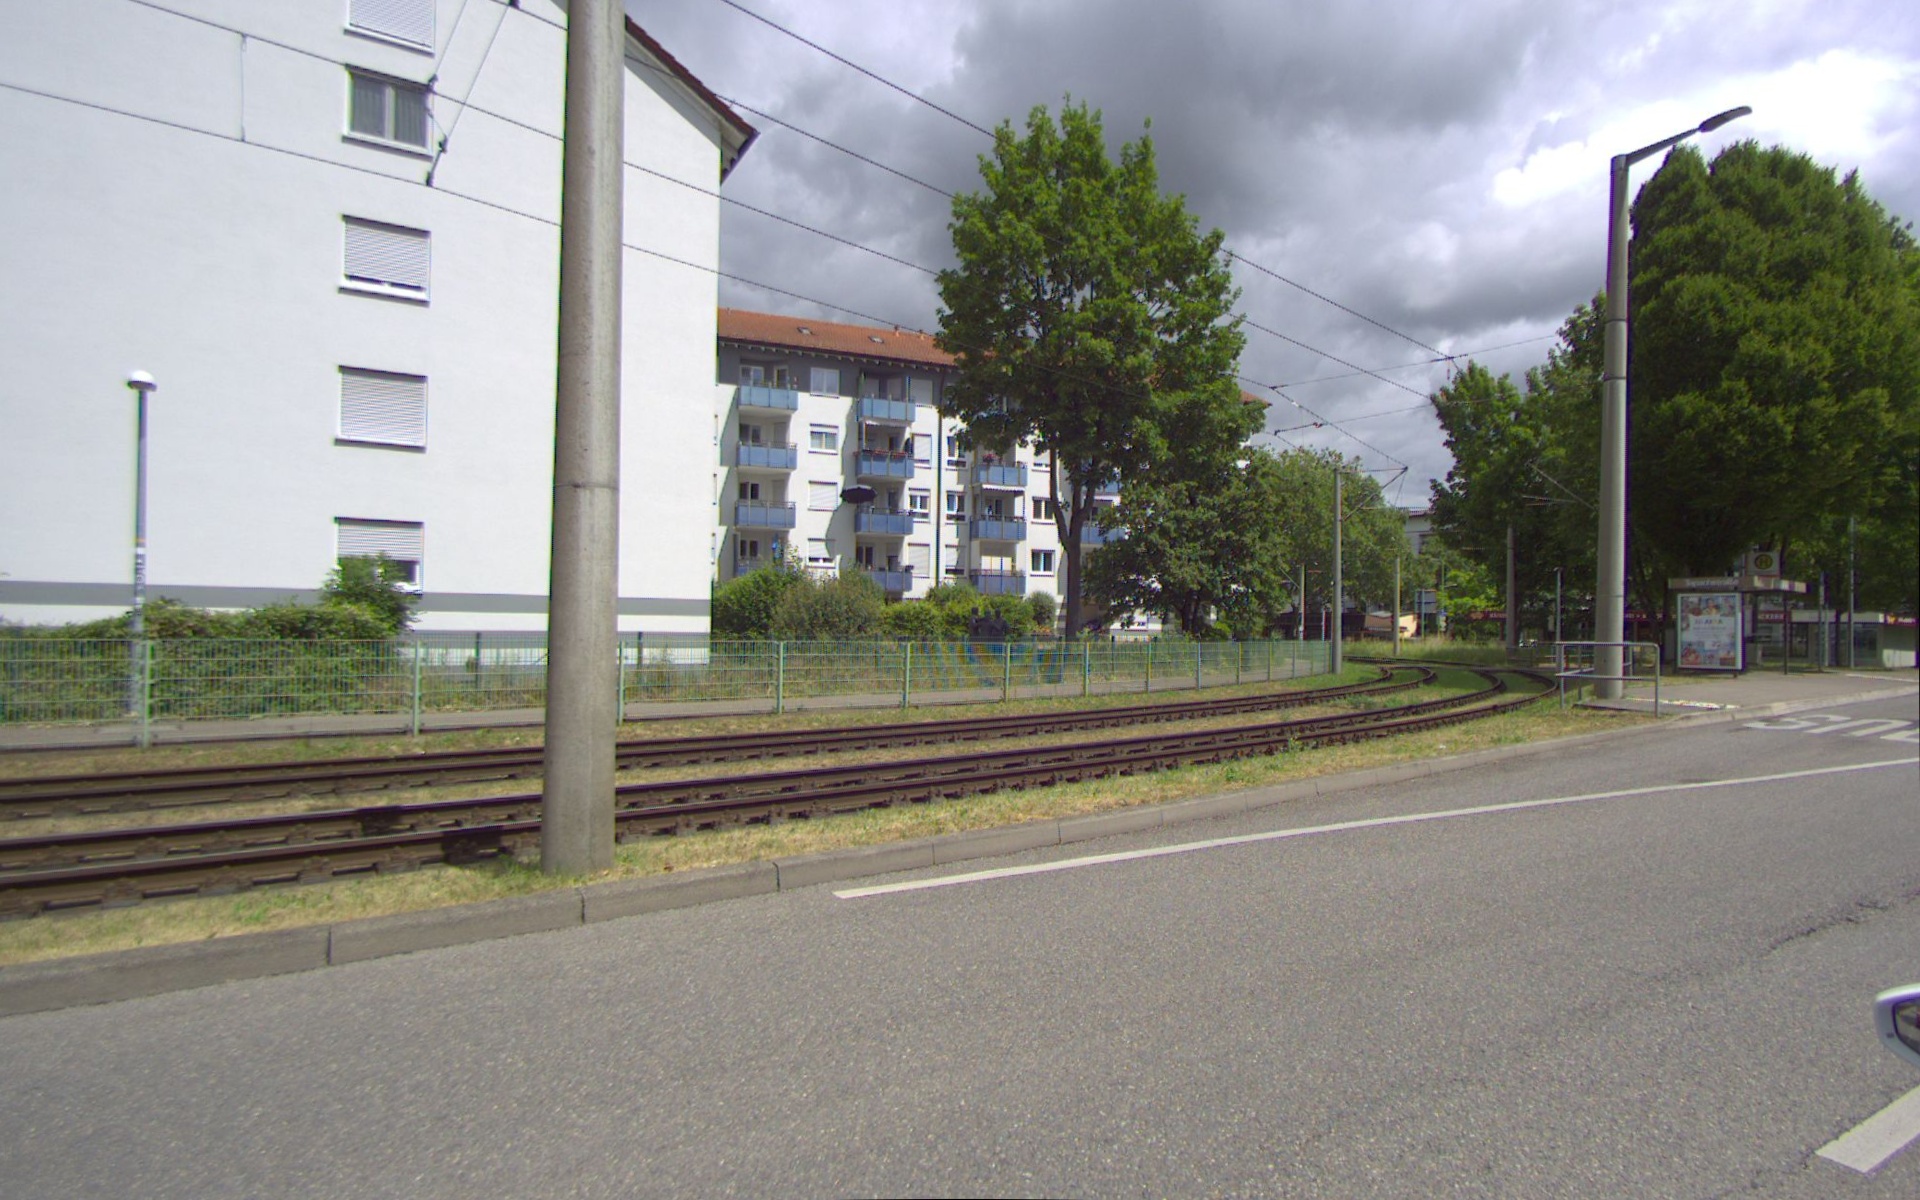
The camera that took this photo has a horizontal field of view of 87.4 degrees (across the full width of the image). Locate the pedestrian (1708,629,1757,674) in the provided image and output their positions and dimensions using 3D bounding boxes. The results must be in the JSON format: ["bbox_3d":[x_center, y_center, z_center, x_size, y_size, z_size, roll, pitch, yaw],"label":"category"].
[{"bbox_3d":[20.628,1.356,26.828,0.902,1.150,0.793,2,0,-35],"label":"pedestrian"}]
